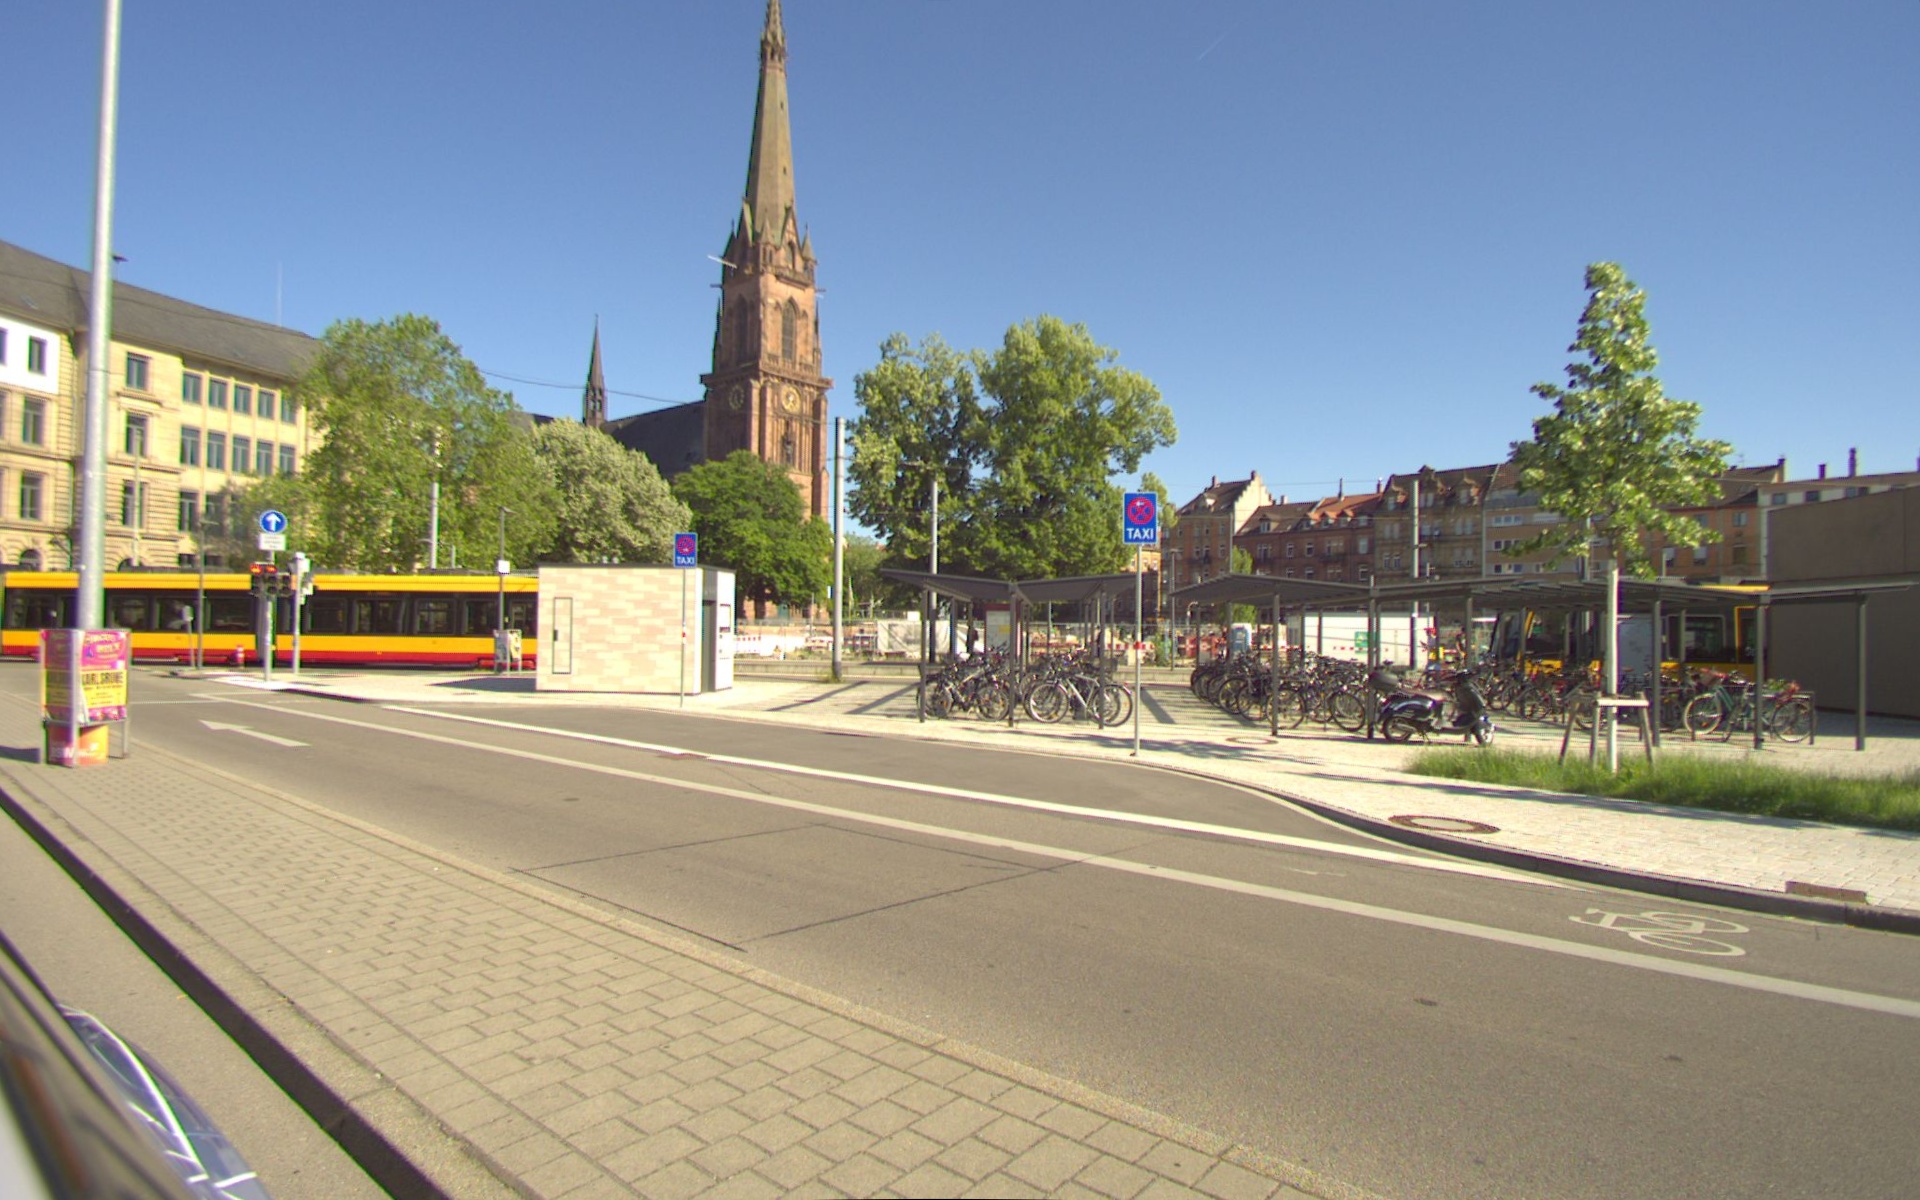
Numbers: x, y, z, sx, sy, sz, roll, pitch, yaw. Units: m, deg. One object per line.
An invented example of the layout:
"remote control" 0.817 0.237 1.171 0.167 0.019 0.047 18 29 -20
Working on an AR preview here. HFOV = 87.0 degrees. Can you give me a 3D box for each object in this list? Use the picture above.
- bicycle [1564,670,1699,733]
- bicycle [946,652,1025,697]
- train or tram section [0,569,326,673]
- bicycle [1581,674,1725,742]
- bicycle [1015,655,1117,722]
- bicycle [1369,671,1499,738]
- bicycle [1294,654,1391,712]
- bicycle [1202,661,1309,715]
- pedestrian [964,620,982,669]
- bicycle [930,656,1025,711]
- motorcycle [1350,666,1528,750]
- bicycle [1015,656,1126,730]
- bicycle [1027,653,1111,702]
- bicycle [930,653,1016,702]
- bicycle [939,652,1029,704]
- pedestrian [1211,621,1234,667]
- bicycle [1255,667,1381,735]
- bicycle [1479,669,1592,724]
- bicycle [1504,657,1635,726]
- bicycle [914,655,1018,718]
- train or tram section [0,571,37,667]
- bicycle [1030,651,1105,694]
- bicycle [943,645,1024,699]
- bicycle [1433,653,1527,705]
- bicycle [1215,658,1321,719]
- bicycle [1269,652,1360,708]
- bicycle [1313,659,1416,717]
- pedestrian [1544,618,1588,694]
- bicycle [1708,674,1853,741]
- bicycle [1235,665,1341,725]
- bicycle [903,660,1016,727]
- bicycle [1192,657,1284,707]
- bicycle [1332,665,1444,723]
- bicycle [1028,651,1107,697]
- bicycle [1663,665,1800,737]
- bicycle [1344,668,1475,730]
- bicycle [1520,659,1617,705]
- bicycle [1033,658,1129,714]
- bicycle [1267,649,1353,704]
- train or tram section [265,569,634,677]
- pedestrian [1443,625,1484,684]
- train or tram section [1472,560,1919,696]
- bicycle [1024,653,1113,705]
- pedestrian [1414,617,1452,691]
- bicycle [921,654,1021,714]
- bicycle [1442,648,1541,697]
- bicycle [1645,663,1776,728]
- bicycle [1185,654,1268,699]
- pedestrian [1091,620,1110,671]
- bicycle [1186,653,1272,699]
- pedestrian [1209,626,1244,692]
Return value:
"bicycle" 11.603 1.747 17.526 1.872 1.004 0.499 0 -2 13
"bicycle" 0.619 1.756 24.115 1.809 1.015 0.627 0 -2 9
"train or tram section" -30.214 0.765 37.537 12.174 3.628 2.796 0 -2 6
"bicycle" 11.159 1.728 16.350 1.809 1.015 0.627 0 -2 9
"bicycle" 1.909 1.583 18.277 1.808 1.157 0.627 0 -2 7
"bicycle" 7.767 1.709 16.651 1.808 1.015 0.627 0 -2 7
"bicycle" 8.111 1.751 21.529 1.808 1.170 0.627 0 -2 7
"bicycle" 5.949 1.766 20.432 1.978 1.015 0.628 0 -2 4
"pedestrian" 0.491 1.701 39.073 0.671 1.869 0.605 0 -2 -1
"bicycle" 0.361 1.640 19.985 1.809 1.015 0.627 0 -2 9
"motorcycle" 7.168 1.609 15.234 2.333 1.167 0.610 0 -2 7
"bicycle" 1.865 1.561 17.134 1.808 1.167 0.627 1 -2 7
"bicycle" 2.377 1.693 22.124 1.808 1.015 0.627 0 -2 7
"bicycle" 0.289 1.696 22.172 1.809 1.015 0.627 0 -2 9
"bicycle" 0.512 1.620 21.141 1.809 1.015 0.627 0 -2 9
"pedestrian" 11.786 1.957 45.444 0.861 2.029 0.749 0 -2 5
"bicycle" 5.977 1.682 16.979 1.871 1.050 0.688 0 -2 9
"bicycle" 11.262 1.878 19.842 1.809 1.015 0.627 0 -2 9
"bicycle" 11.297 1.693 18.802 2.029 1.218 0.505 0 -2 8
"bicycle" 0.116 1.543 18.238 1.809 1.074 0.627 0 -2 9
"train or tram section" -42.443 0.698 38.826 12.382 3.628 2.796 0 -2 6
"bicycle" 2.632 1.764 24.810 1.808 1.015 0.627 0 -2 7
"bicycle" 0.562 1.652 23.416 1.809 1.188 0.627 0 -2 9
"bicycle" 12.000 1.820 23.404 1.809 1.140 0.627 0 -2 9
"bicycle" 5.876 1.687 19.411 1.859 1.101 0.626 0 -2 8
"bicycle" 7.928 1.772 22.679 1.808 1.198 0.647 0 -2 7
"bicycle" 8.074 1.752 20.263 1.808 1.088 0.627 0 -2 7
"pedestrian" 15.240 1.387 25.453 0.700 1.869 0.751 2 -2 -38
"bicycle" 13.020 1.700 16.078 1.803 1.015 0.629 1 -2 -3
"bicycle" 5.853 1.691 18.133 1.731 1.015 0.547 0 -2 10
"bicycle" 0.006 1.588 17.371 1.847 1.015 0.699 2 -2 9
"bicycle" 5.969 1.762 21.807 1.805 1.015 0.629 0 -2 0
"bicycle" 8.000 1.754 18.971 1.808 1.015 0.627 0 -2 7
"bicycle" 2.510 1.708 23.610 1.808 1.015 0.627 0 -2 7
"bicycle" 12.991 1.693 17.065 1.805 1.155 0.629 0 -2 0
"bicycle" 7.919 1.736 17.877 2.003 1.015 0.627 0 -2 7
"bicycle" 14.053 1.886 23.407 1.808 1.015 0.627 0 -2 7
"bicycle" 2.321 1.640 19.542 1.808 1.015 0.745 0 -2 7
"bicycle" 8.236 1.790 23.877 1.808 1.242 0.627 0 -2 7
"train or tram section" -18.116 0.811 36.233 12.174 3.628 2.828 0 -2 6
"pedestrian" 17.664 1.908 35.511 0.997 2.029 0.872 0 -2 0
"train or tram section" 21.520 0.761 28.752 12.179 3.628 2.748 0 -2 7
"bicycle" 2.229 1.614 20.849 1.808 1.015 0.627 0 -2 7
"pedestrian" 12.269 1.383 26.240 0.595 1.869 0.683 2 -2 -38
"bicycle" 0.213 1.549 18.766 1.809 1.059 0.571 0 -2 9
"bicycle" 11.687 1.582 22.308 1.809 1.015 0.627 0 -2 9
"bicycle" 13.590 1.722 18.361 1.808 1.101 0.627 0 -2 7
"bicycle" 6.251 1.791 23.799 1.808 1.015 0.627 0 -2 6
"pedestrian" 5.136 1.660 37.033 0.673 1.869 0.604 0 -2 6
"bicycle" 6.121 1.726 23.111 1.807 1.015 0.628 0 -2 5
"pedestrian" 6.881 1.519 26.166 0.762 1.672 0.604 0 -2 4
